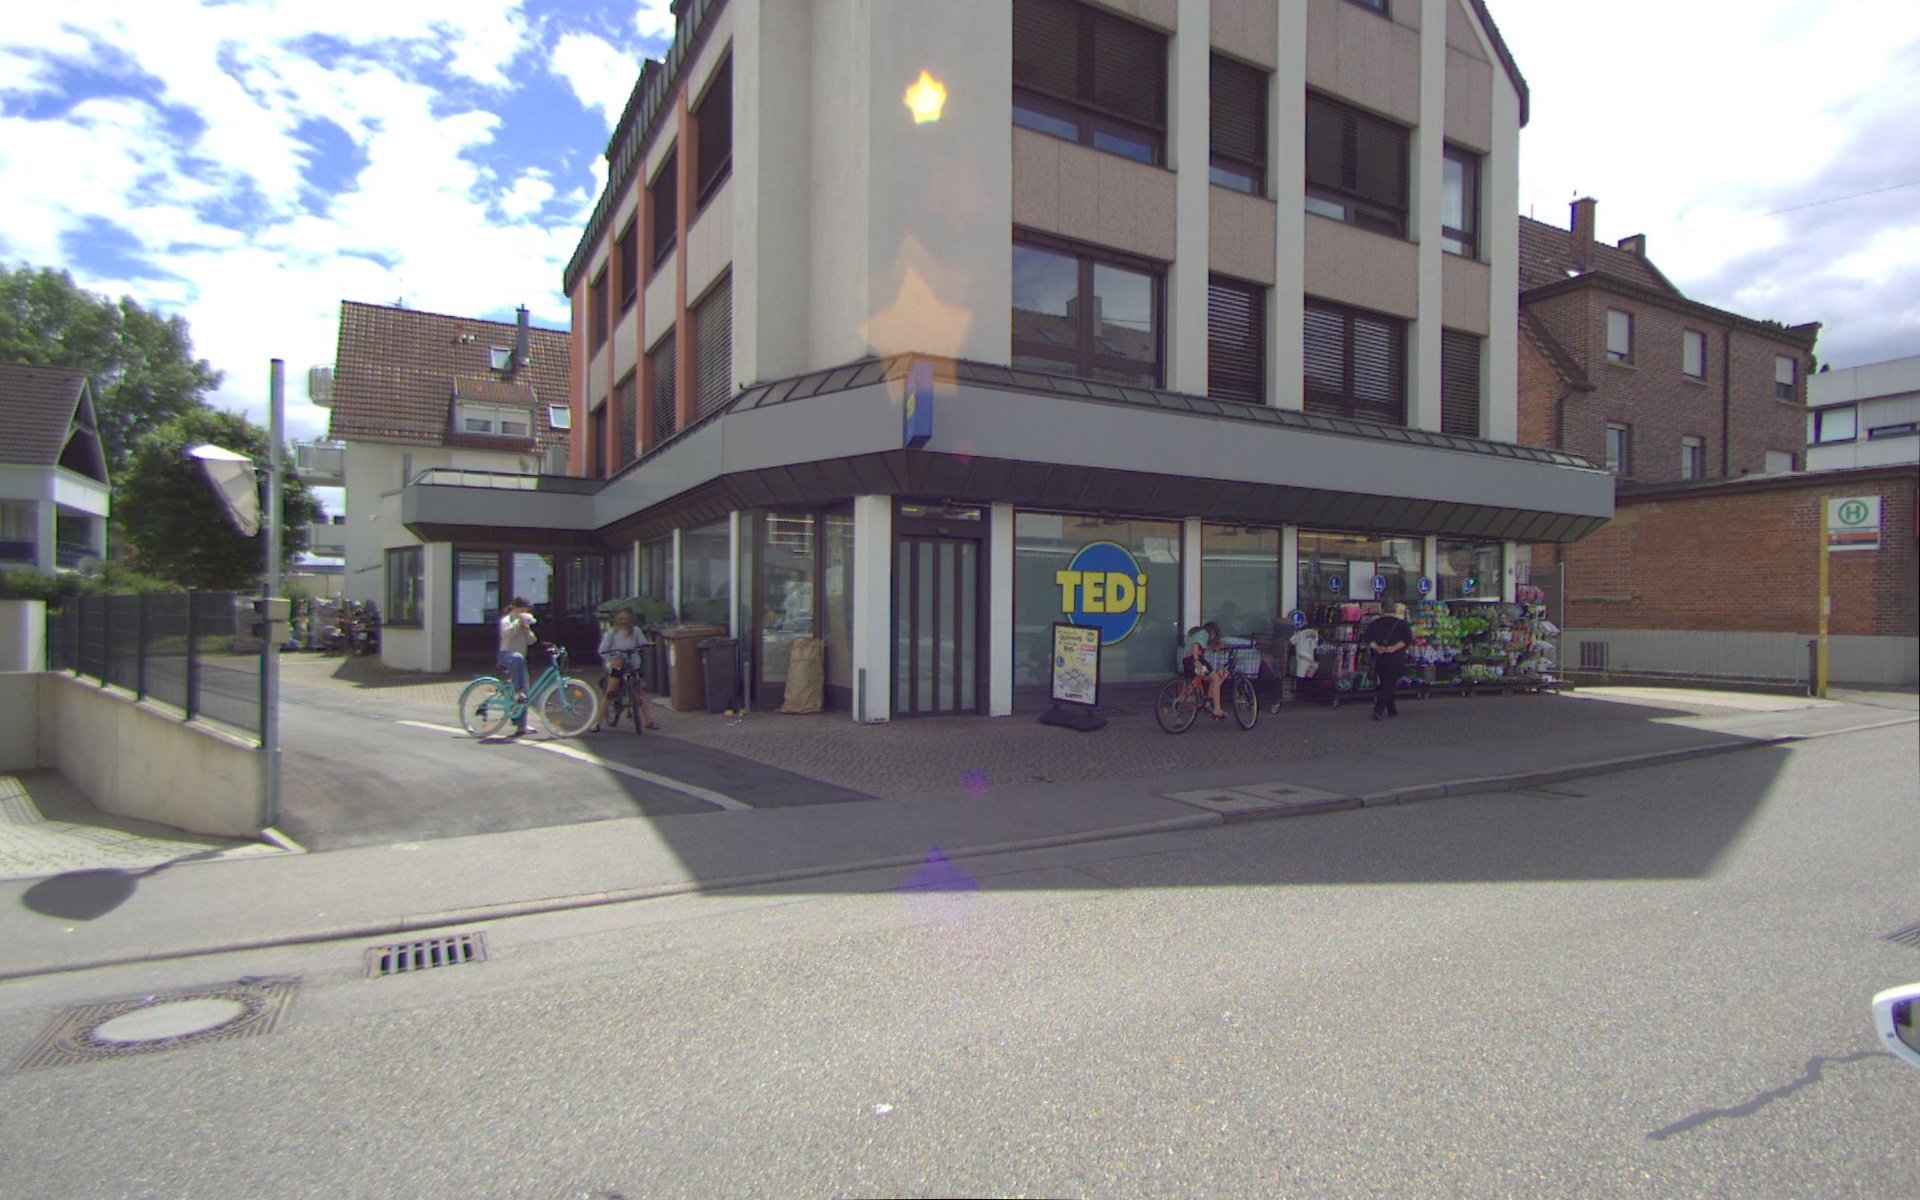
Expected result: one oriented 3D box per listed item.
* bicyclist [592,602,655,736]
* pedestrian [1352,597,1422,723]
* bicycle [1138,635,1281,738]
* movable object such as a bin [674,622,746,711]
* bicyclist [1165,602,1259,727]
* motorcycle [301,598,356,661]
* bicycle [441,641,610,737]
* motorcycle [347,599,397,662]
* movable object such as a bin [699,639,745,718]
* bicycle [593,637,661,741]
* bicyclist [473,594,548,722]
[{"bbox_3d":[-3.635,0.723,10.839,0.581,1.384,0.422,-1,1,-24],"label":"bicyclist"},{"bbox_3d":[5.631,0.774,13.279,0.757,1.579,0.574,2,0,20],"label":"pedestrian"},{"bbox_3d":[2.910,0.974,11.654,1.714,1.064,0.441,1,6,-31],"label":"bicycle"},{"bbox_3d":[-3.257,0.846,13.059,0.729,1.080,0.680,-2,2,-30],"label":"movable object such as a bin"},{"bbox_3d":[2.912,0.721,11.635,0.753,1.355,0.664,0,4,-30],"label":"bicyclist"},{"bbox_3d":[-16.487,0.739,26.299,0.849,1.539,3.595,1,-1,-26],"label":"motorcycle"},{"bbox_3d":[-4.456,0.899,10.329,1.557,0.929,0.459,0,1,6],"label":"bicycle"},{"bbox_3d":[-15.345,0.757,26.282,0.849,1.539,3.778,1,-1,-26],"label":"motorcycle"},{"bbox_3d":[-2.955,0.962,12.469,0.438,0.923,0.405,-2,1,-30],"label":"movable object such as a bin"},{"bbox_3d":[-3.618,0.918,10.858,0.547,0.967,1.681,0,0,-24],"label":"bicycle"},{"bbox_3d":[-4.615,0.582,10.342,0.418,1.258,0.642,2,0,3],"label":"bicyclist"}]
